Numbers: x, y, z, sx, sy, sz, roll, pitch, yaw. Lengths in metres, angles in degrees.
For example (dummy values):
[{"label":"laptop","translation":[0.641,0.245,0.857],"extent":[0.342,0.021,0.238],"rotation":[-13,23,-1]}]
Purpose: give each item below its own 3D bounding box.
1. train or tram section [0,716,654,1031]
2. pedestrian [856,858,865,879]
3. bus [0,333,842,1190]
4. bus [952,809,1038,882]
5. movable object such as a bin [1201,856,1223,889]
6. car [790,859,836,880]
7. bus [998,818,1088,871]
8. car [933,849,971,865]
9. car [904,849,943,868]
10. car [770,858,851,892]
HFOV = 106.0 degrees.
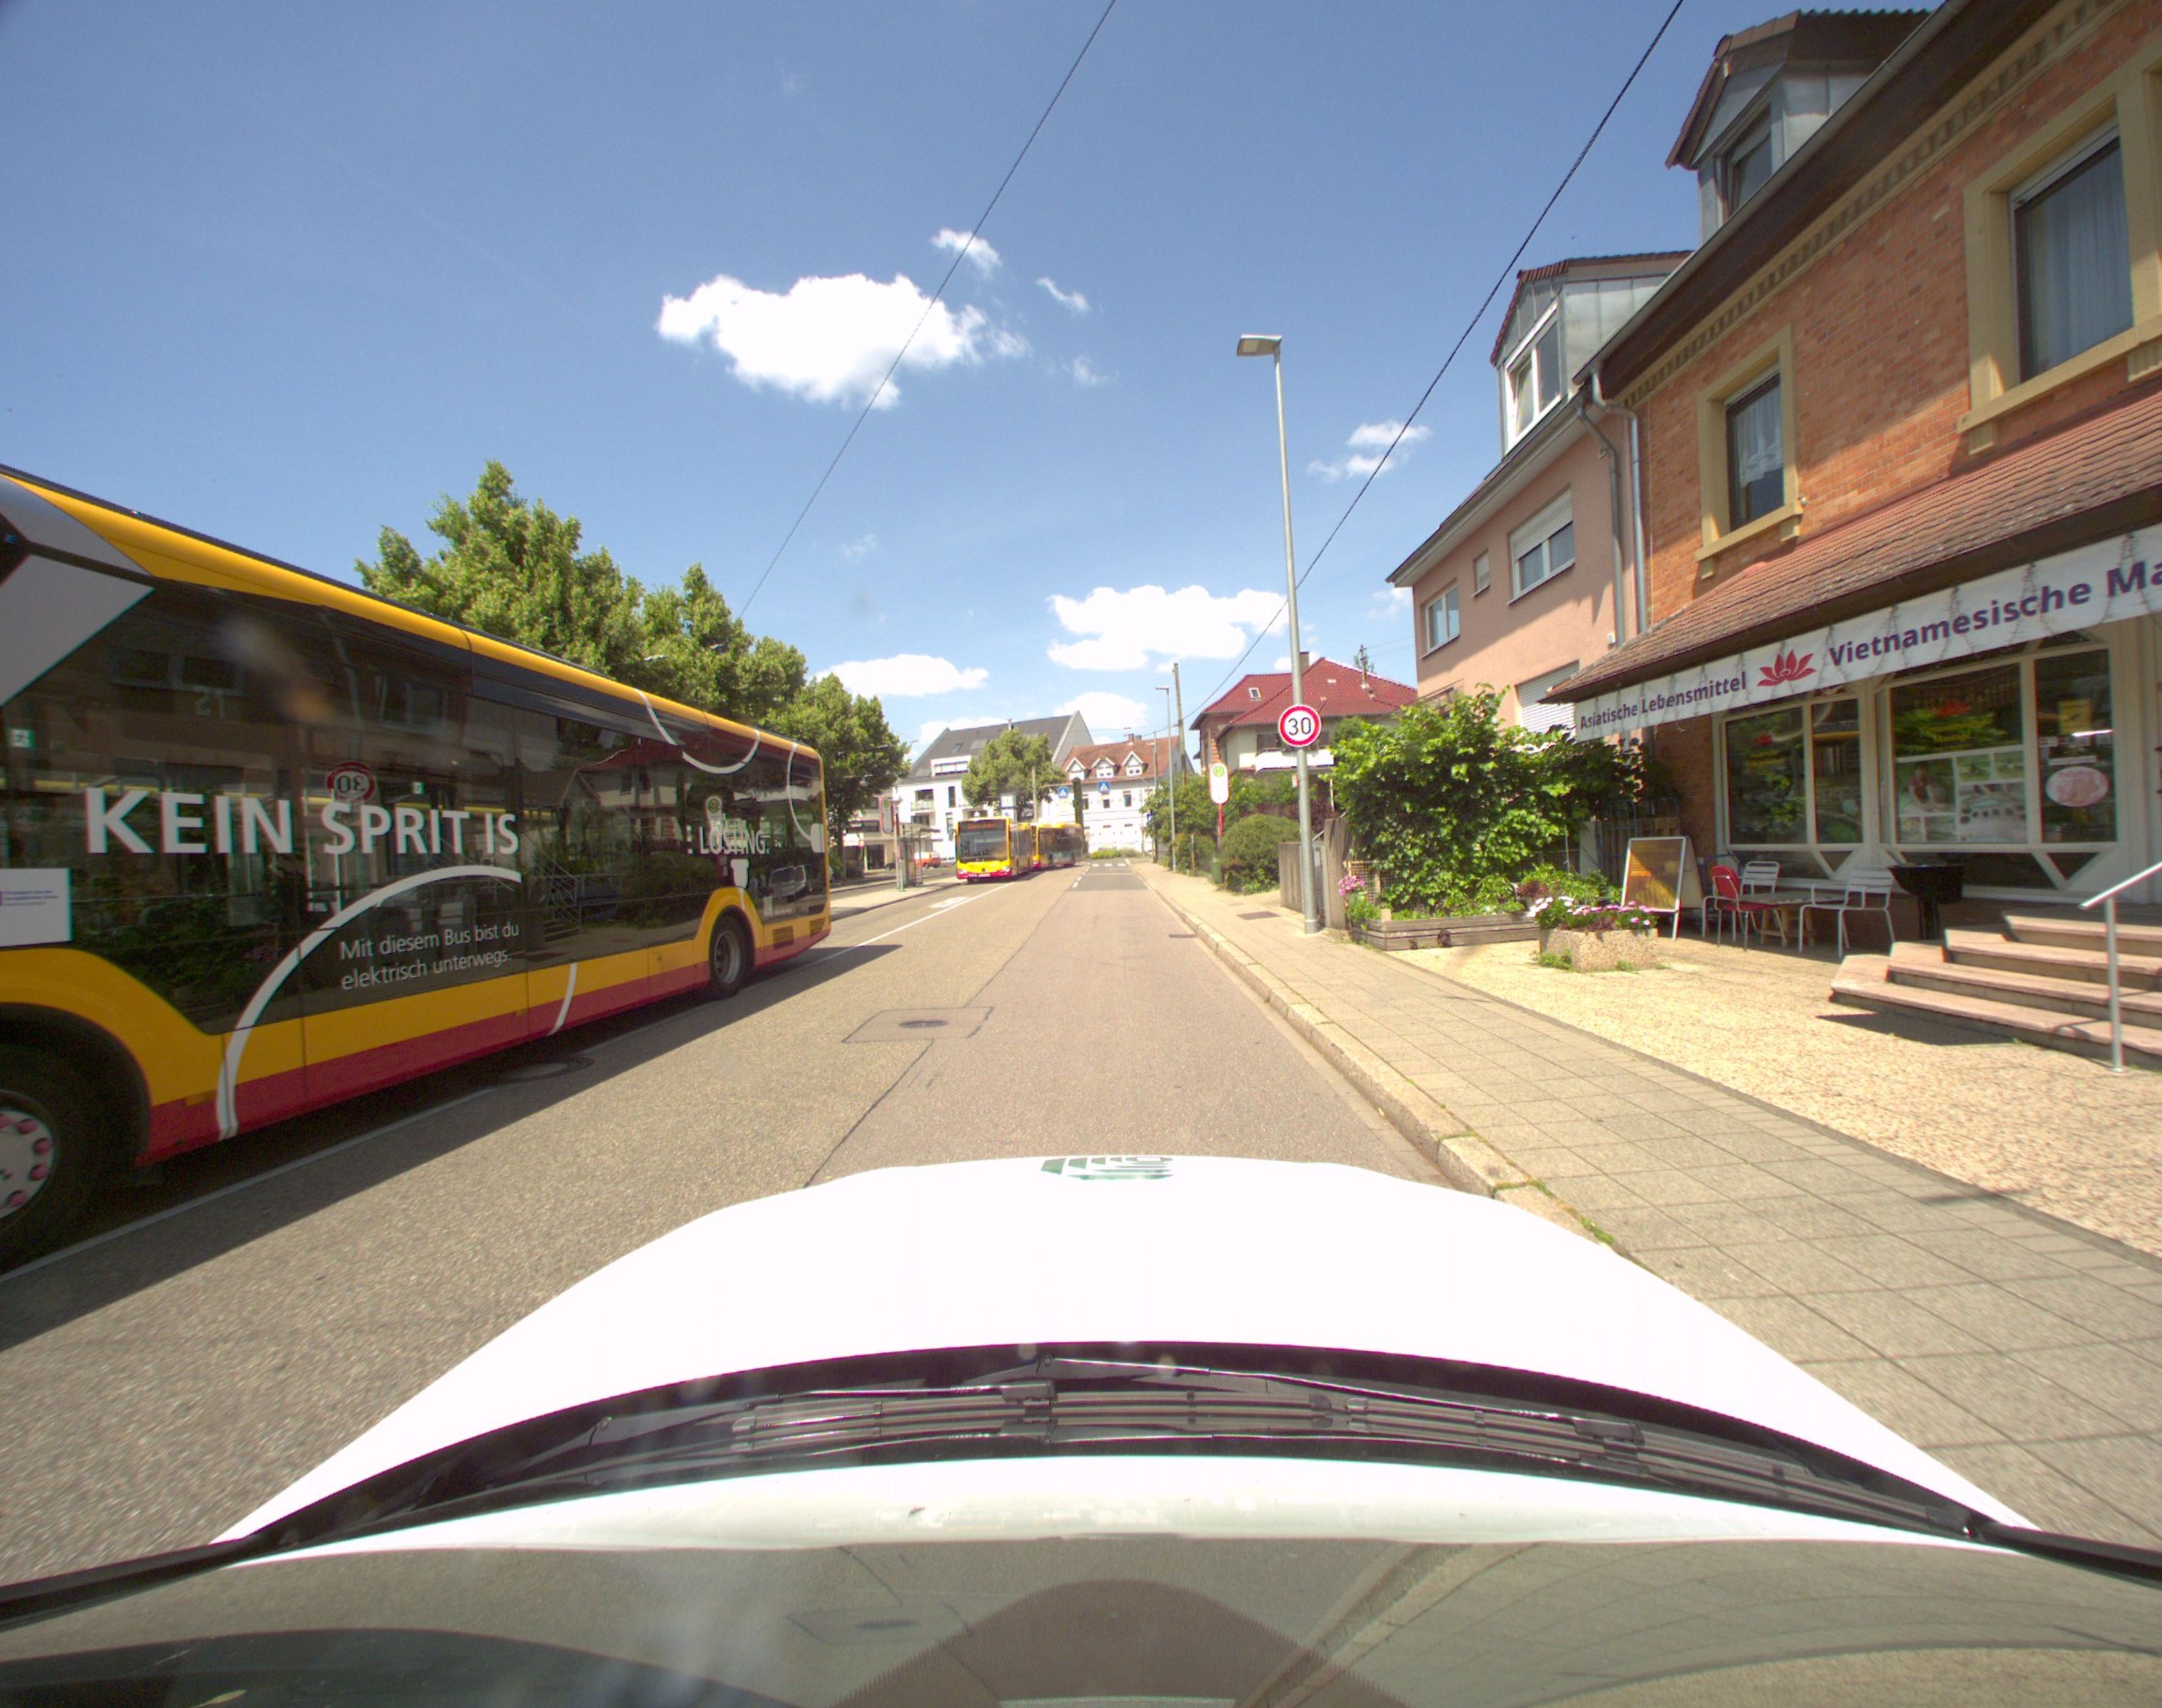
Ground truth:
[{"label":"train or tram section","translation":[-13.746,0.245,15.963],"extent":[2.952,3.642,14.000],"rotation":[-1,0,2]},{"label":"pedestrian","translation":[-21.952,1.455,81.061],"extent":[0.688,2.014,0.612],"rotation":[0,-2,-33]},{"label":"bus","translation":[-5.390,-0.283,6.454],"extent":[2.886,3.247,12.202],"rotation":[-1,-1,2]},{"label":"bus","translation":[-4.195,-0.374,42.672],"extent":[2.896,3.248,12.122],"rotation":[-1,0,1]},{"label":"movable object such as a bin","translation":[3.745,0.531,23.287],"extent":[0.405,0.907,0.729],"rotation":[-6,-1,-1]},{"label":"car","translation":[-17.275,1.010,52.721],"extent":[1.710,1.318,3.997],"rotation":[-1,-1,-2]},{"label":"bus","translation":[-2.297,-0.727,56.140],"extent":[2.760,3.208,12.353],"rotation":[-1,1,13]},{"label":"car","translation":[-15.112,0.373,95.250],"extent":[3.950,1.777,1.868],"rotation":[-1,-1,26]},{"label":"car","translation":[-17.895,0.529,92.428],"extent":[3.948,2.014,2.012],"rotation":[-1,-1,31]},{"label":"car","translation":[-11.691,0.893,35.292],"extent":[3.287,1.373,1.459],"rotation":[0,-1,-19]}]
